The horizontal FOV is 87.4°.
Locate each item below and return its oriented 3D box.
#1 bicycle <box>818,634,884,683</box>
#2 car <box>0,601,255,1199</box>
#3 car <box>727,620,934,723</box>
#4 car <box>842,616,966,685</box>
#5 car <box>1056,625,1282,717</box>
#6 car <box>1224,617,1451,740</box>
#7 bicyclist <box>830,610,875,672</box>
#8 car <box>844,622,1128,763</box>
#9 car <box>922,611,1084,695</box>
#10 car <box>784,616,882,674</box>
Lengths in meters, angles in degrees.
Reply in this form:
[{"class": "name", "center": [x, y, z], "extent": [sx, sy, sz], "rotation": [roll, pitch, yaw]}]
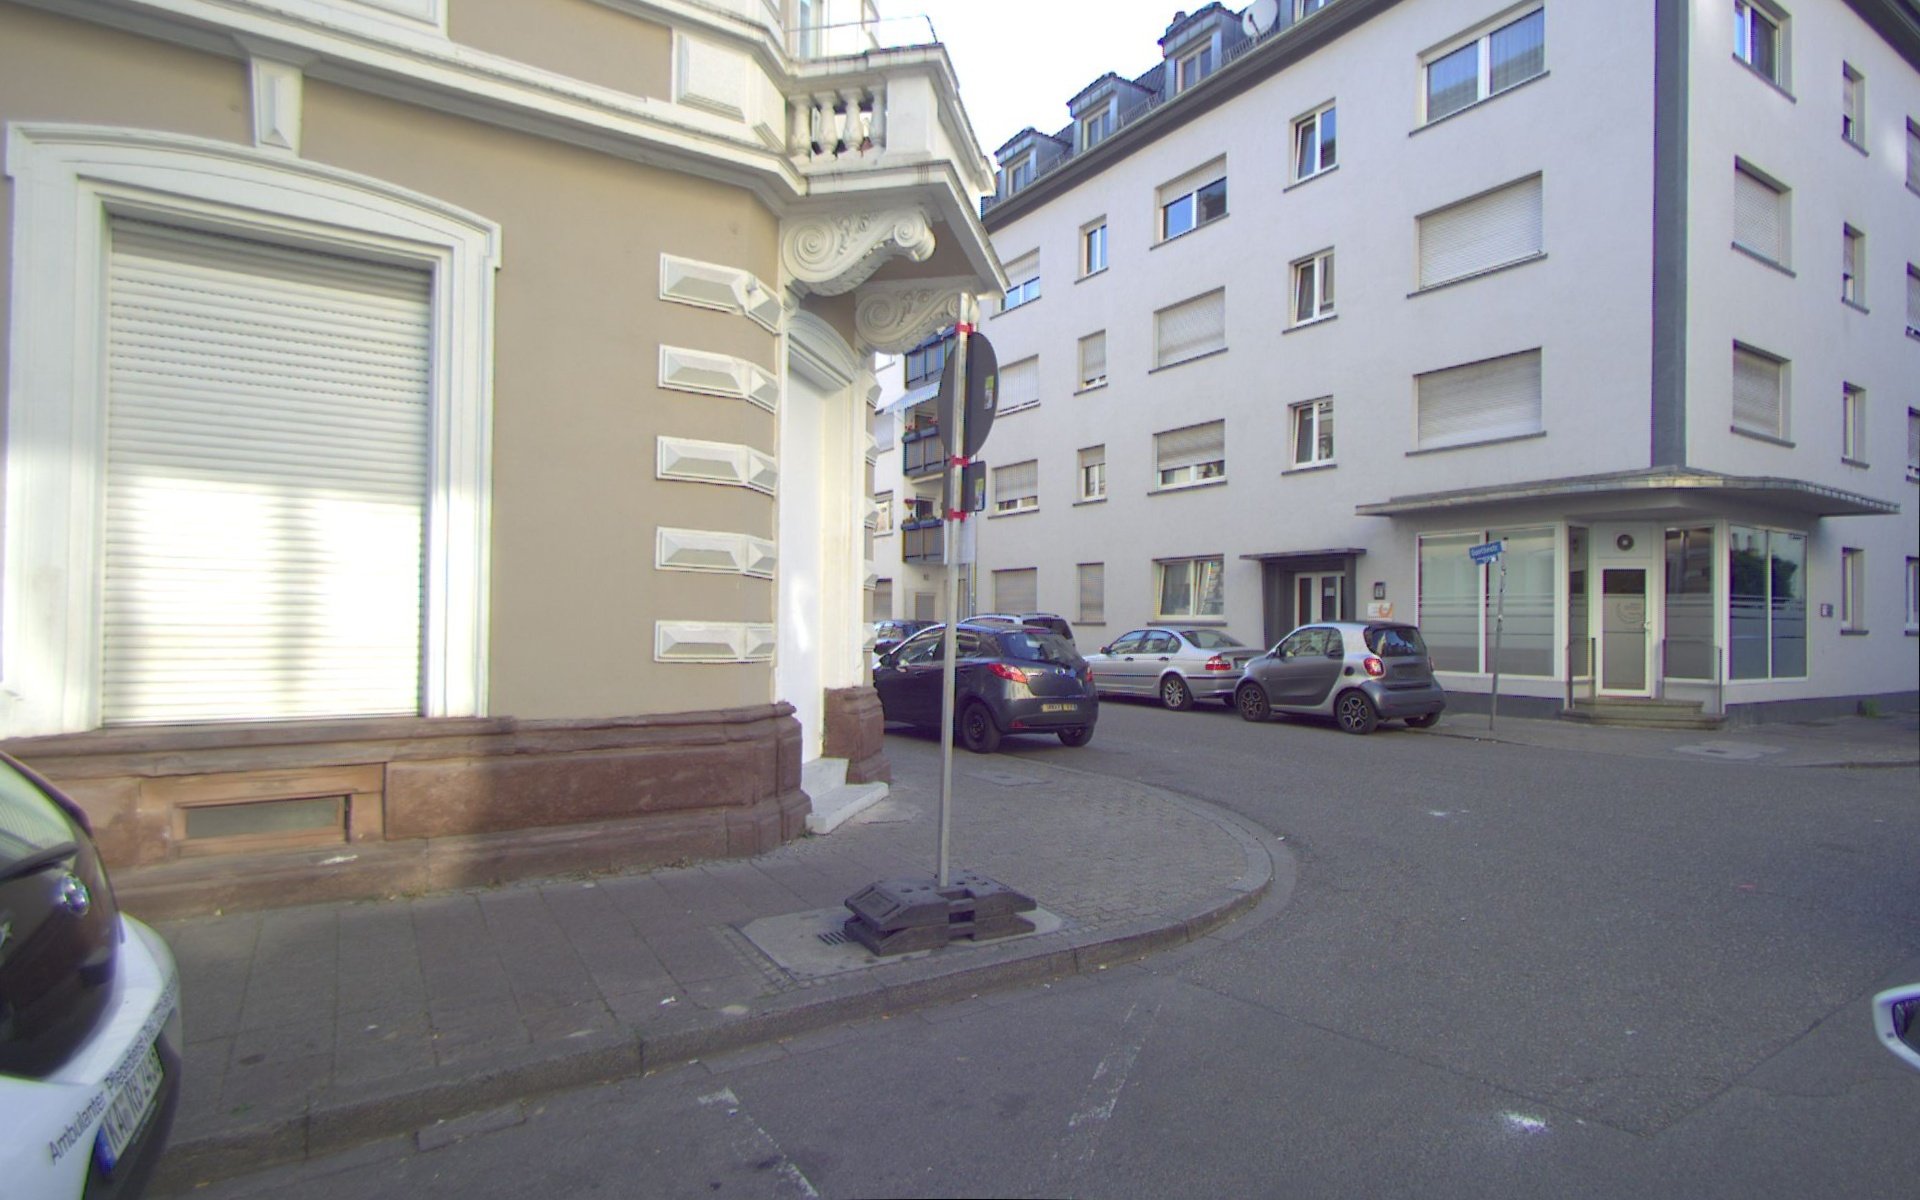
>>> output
[{"class": "bicycle", "center": [-2.667, 1.398, 24.368], "extent": [0.727, 1.041, 2.096], "rotation": [1, 0, -32]}, {"class": "car", "center": [-3.372, 0.789, 0.991], "extent": [4.218, 1.527, 1.911], "rotation": [1, -3, -31]}, {"class": "car", "center": [-2.316, 1.085, 16.902], "extent": [1.884, 1.481, 4.286], "rotation": [1, -1, -32]}, {"class": "car", "center": [-1.534, 1.266, 26.318], "extent": [1.587, 1.560, 3.685], "rotation": [1, 0, -34]}, {"class": "car", "center": [3.688, 1.209, 18.446], "extent": [1.586, 1.422, 4.179], "rotation": [1, -1, -33]}, {"class": "car", "center": [5.533, 1.081, 14.942], "extent": [1.576, 1.560, 2.771], "rotation": [1, 0, -31]}, {"class": "bicyclist", "center": [-2.611, 0.980, 24.303], "extent": [0.727, 1.431, 0.932], "rotation": [1, 0, -32]}, {"class": "car", "center": [0.193, 1.022, 12.596], "extent": [1.713, 1.470, 3.639], "rotation": [1, -1, -36]}, {"class": "car", "center": [0.863, 1.111, 22.546], "extent": [1.586, 1.626, 3.993], "rotation": [1, 0, -33]}, {"class": "car", "center": [-3.881, 1.319, 30.297], "extent": [1.586, 1.560, 3.470], "rotation": [1, 0, -33]}]
